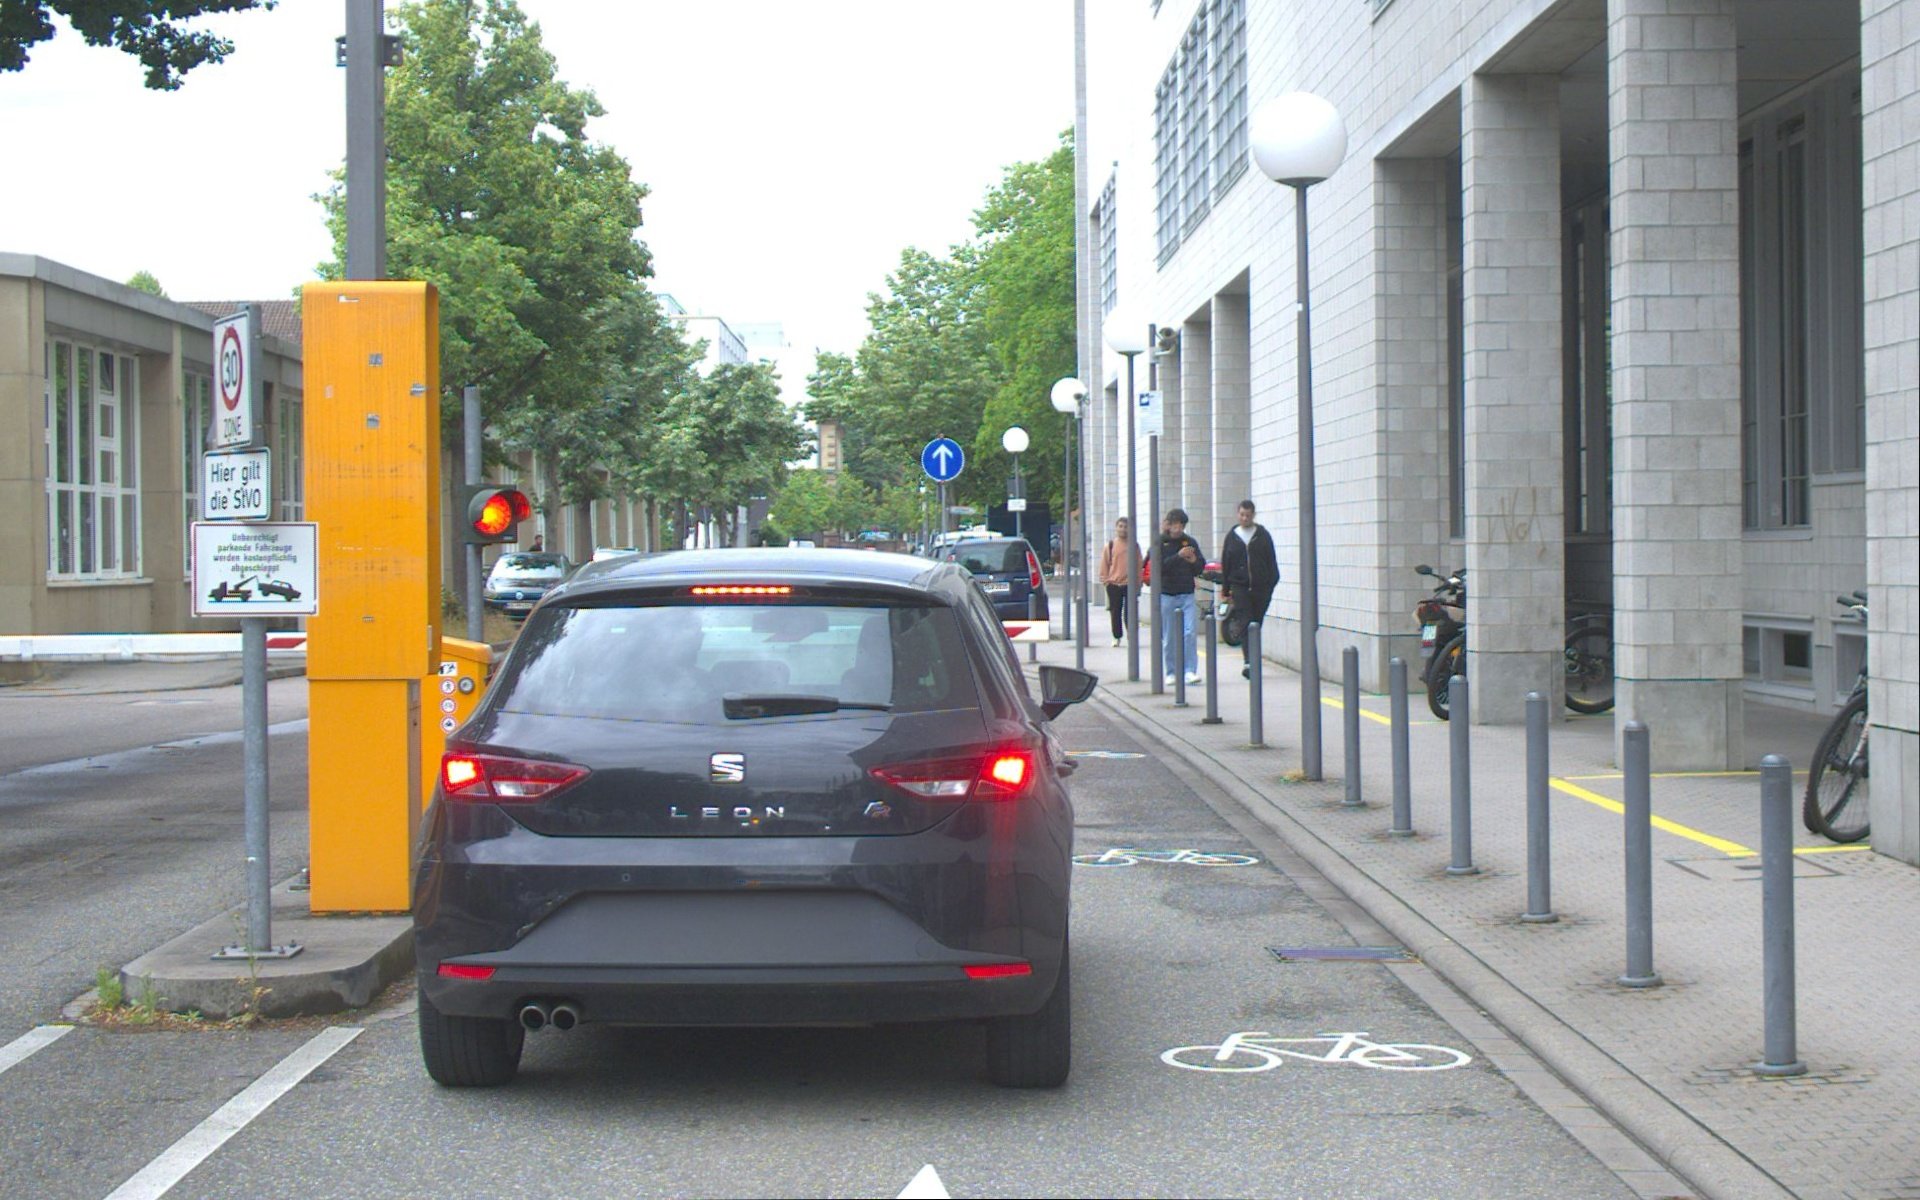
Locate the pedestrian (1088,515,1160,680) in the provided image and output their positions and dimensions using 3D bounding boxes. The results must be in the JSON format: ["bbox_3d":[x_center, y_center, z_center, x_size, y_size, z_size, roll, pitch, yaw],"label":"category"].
[{"bbox_3d":[1.710,-0.033,35.904,0.696,1.708,0.489,0,1,-4],"label":"pedestrian"}]

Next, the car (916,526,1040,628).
[{"bbox_3d":[0.279,-0.425,59.122,1.993,1.617,4.428,-2,1,-1],"label":"car"}]

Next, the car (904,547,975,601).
[{"bbox_3d":[-0.631,-0.783,101.930,1.993,1.458,4.428,-2,1,-1],"label":"car"}]

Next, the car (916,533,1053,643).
[{"bbox_3d":[0.342,-0.195,54.595,1.993,1.617,4.428,-2,0,-1],"label":"car"}]

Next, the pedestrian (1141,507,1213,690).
[{"bbox_3d":[2.056,-0.023,32.649,0.611,1.708,0.574,-1,1,1],"label":"pedestrian"}]

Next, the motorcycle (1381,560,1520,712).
[{"bbox_3d":[4.175,0.282,29.128,0.566,1.144,2.214,2,4,24],"label":"motorcycle"}]

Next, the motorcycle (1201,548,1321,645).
[{"bbox_3d":[4.024,-0.065,45.746,0.760,1.144,2.660,2,4,24],"label":"motorcycle"}]

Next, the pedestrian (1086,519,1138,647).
[{"bbox_3d":[2.050,-0.234,46.254,0.696,1.708,0.489,0,1,4],"label":"pedestrian"}]

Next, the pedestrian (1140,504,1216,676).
[{"bbox_3d":[2.191,-0.107,34.627,0.690,1.693,0.588,0,3,-2],"label":"pedestrian"}]

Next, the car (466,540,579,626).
[{"bbox_3d":[-8.435,-0.361,66.547,1.770,1.595,4.000,0,1,-2],"label":"car"}]

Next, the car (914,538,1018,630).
[{"bbox_3d":[0.095,-0.361,71.215,1.993,1.776,4.428,-2,1,-1],"label":"car"}]

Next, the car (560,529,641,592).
[{"bbox_3d":[-9.321,-1.046,89.327,1.770,1.595,4.000,0,1,-1],"label":"car"}]

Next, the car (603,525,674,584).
[{"bbox_3d":[-8.850,-1.265,94.831,1.770,1.595,4.001,0,1,-3],"label":"car"}]

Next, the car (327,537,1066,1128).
[{"bbox_3d":[-0.682,0.524,10.385,1.782,1.414,4.130,0,1,-1],"label":"car"}]

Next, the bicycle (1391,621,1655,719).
[{"bbox_3d":[4.248,0.525,25.986,1.896,0.696,0.493,0,3,-4],"label":"bicycle"}]

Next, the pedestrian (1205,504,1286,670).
[{"bbox_3d":[2.964,-0.139,35.720,0.727,1.693,0.588,0,3,-6],"label":"pedestrian"}]

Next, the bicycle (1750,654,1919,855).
[{"bbox_3d":[4.231,0.678,15.878,0.463,0.749,2.291,-4,0,29],"label":"bicycle"}]
